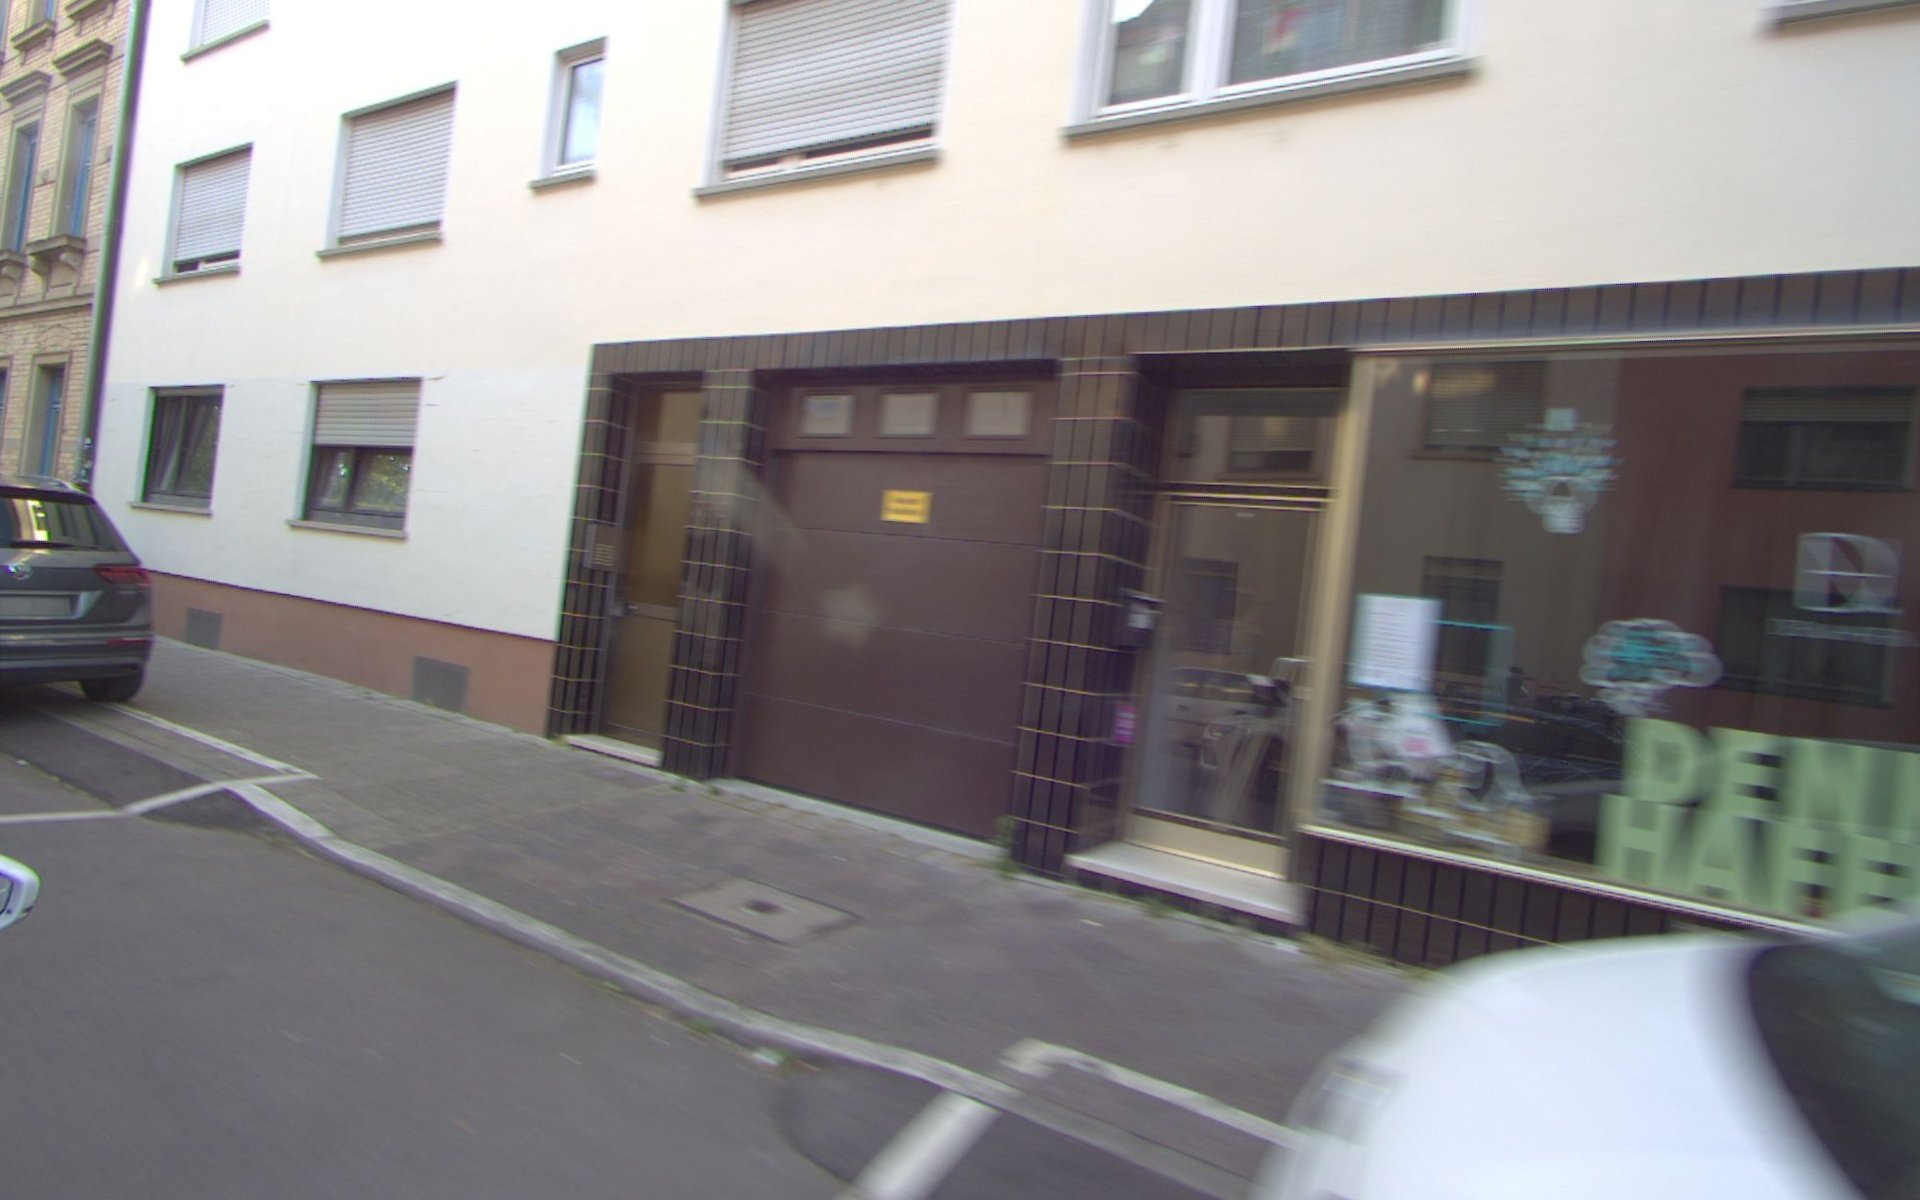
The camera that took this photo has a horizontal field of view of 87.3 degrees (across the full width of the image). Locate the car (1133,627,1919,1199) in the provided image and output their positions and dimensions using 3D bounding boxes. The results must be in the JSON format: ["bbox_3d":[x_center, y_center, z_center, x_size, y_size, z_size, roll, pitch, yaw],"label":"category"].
[{"bbox_3d":[2.276,1.022,0.962,3.871,1.526,1.677,6,1,31],"label":"car"}]

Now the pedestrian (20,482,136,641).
[{"bbox_3d":[-9.955,-0.422,11.362,0.705,1.680,0.686,7,0,31],"label":"pedestrian"}]

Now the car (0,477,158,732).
[{"bbox_3d":[-7.960,-0.152,7.536,4.179,1.649,1.676,6,3,31],"label":"car"}]

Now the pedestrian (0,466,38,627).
[{"bbox_3d":[-10.434,-0.605,10.659,0.705,1.680,0.686,7,0,31],"label":"pedestrian"}]
